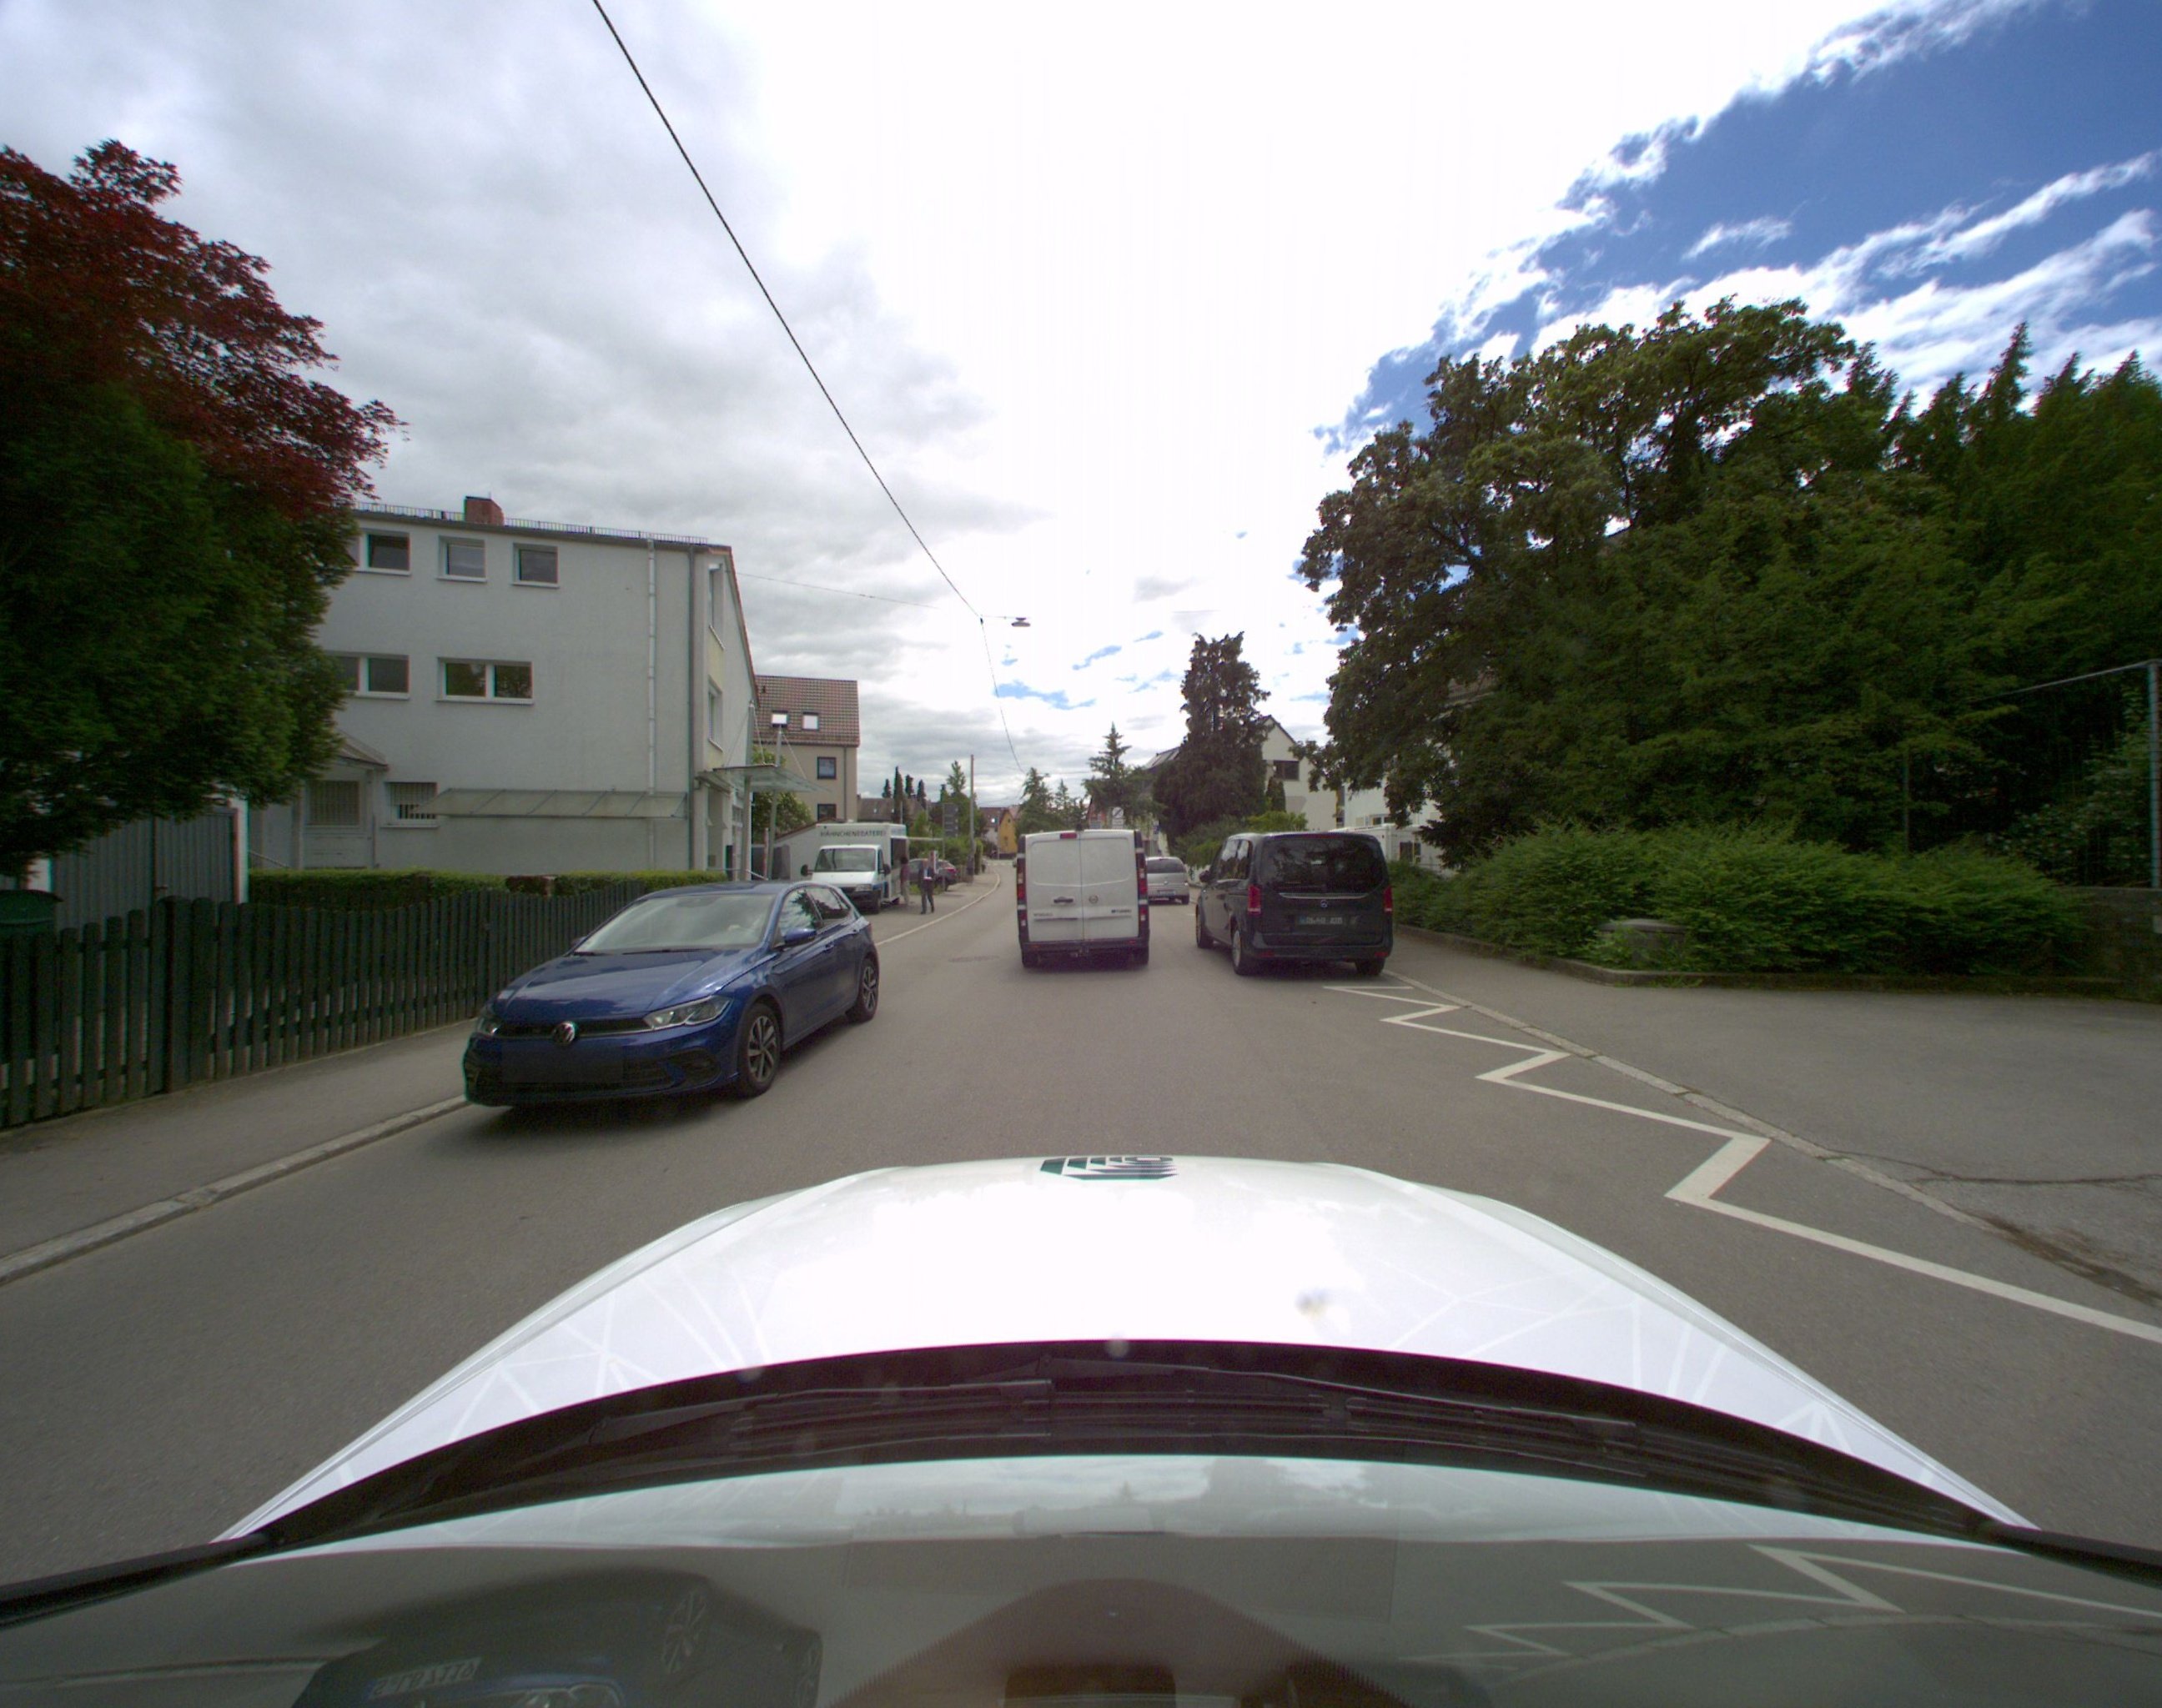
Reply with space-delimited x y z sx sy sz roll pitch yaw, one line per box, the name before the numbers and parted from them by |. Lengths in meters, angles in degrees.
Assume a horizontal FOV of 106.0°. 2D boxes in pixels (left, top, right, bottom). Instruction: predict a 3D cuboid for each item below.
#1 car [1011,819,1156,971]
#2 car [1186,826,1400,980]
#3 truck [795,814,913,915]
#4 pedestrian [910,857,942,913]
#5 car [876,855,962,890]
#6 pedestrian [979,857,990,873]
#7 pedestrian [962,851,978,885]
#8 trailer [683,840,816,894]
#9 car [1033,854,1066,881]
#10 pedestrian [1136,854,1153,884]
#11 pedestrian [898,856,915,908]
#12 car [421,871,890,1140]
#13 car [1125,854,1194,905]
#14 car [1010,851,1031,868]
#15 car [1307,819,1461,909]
car | -0.021 0.578 13.154 1.911 2.003 4.434 -1 -1 -2
car | 2.870 0.614 12.325 1.903 1.848 5.157 0 -1 0
truck | -7.088 0.318 26.350 2.469 2.840 6.695 0 -1 -5
pedestrian | -4.786 0.954 25.260 0.720 1.687 1.109 2 -1 0
car | -8.537 0.964 42.770 4.318 1.696 1.789 2 -1 -15
pedestrian | -8.977 1.038 75.597 0.881 1.485 0.451 2 -1 -28
pedestrian | -6.633 0.827 48.710 0.730 1.946 1.217 2 -1 0
trailer | -13.922 0.535 34.437 4.856 2.080 1.700 2 1 -7
car | -2.328 0.994 59.473 1.993 1.848 3.988 -1 0 -8
pedestrian | 3.601 0.840 46.407 0.852 1.645 0.883 2 -1 -2
pedestrian | -5.733 0.924 26.787 0.400 1.695 0.596 2 -1 -5
car | -2.948 0.921 6.720 1.688 1.432 3.927 -4 -1 1
car | 2.661 0.858 28.463 1.755 1.582 4.013 -2 -1 -3
car | -6.805 0.588 91.604 1.993 1.782 3.988 -2 0 -8
car | 10.026 0.345 27.479 2.499 2.682 5.165 2 -1 -12
